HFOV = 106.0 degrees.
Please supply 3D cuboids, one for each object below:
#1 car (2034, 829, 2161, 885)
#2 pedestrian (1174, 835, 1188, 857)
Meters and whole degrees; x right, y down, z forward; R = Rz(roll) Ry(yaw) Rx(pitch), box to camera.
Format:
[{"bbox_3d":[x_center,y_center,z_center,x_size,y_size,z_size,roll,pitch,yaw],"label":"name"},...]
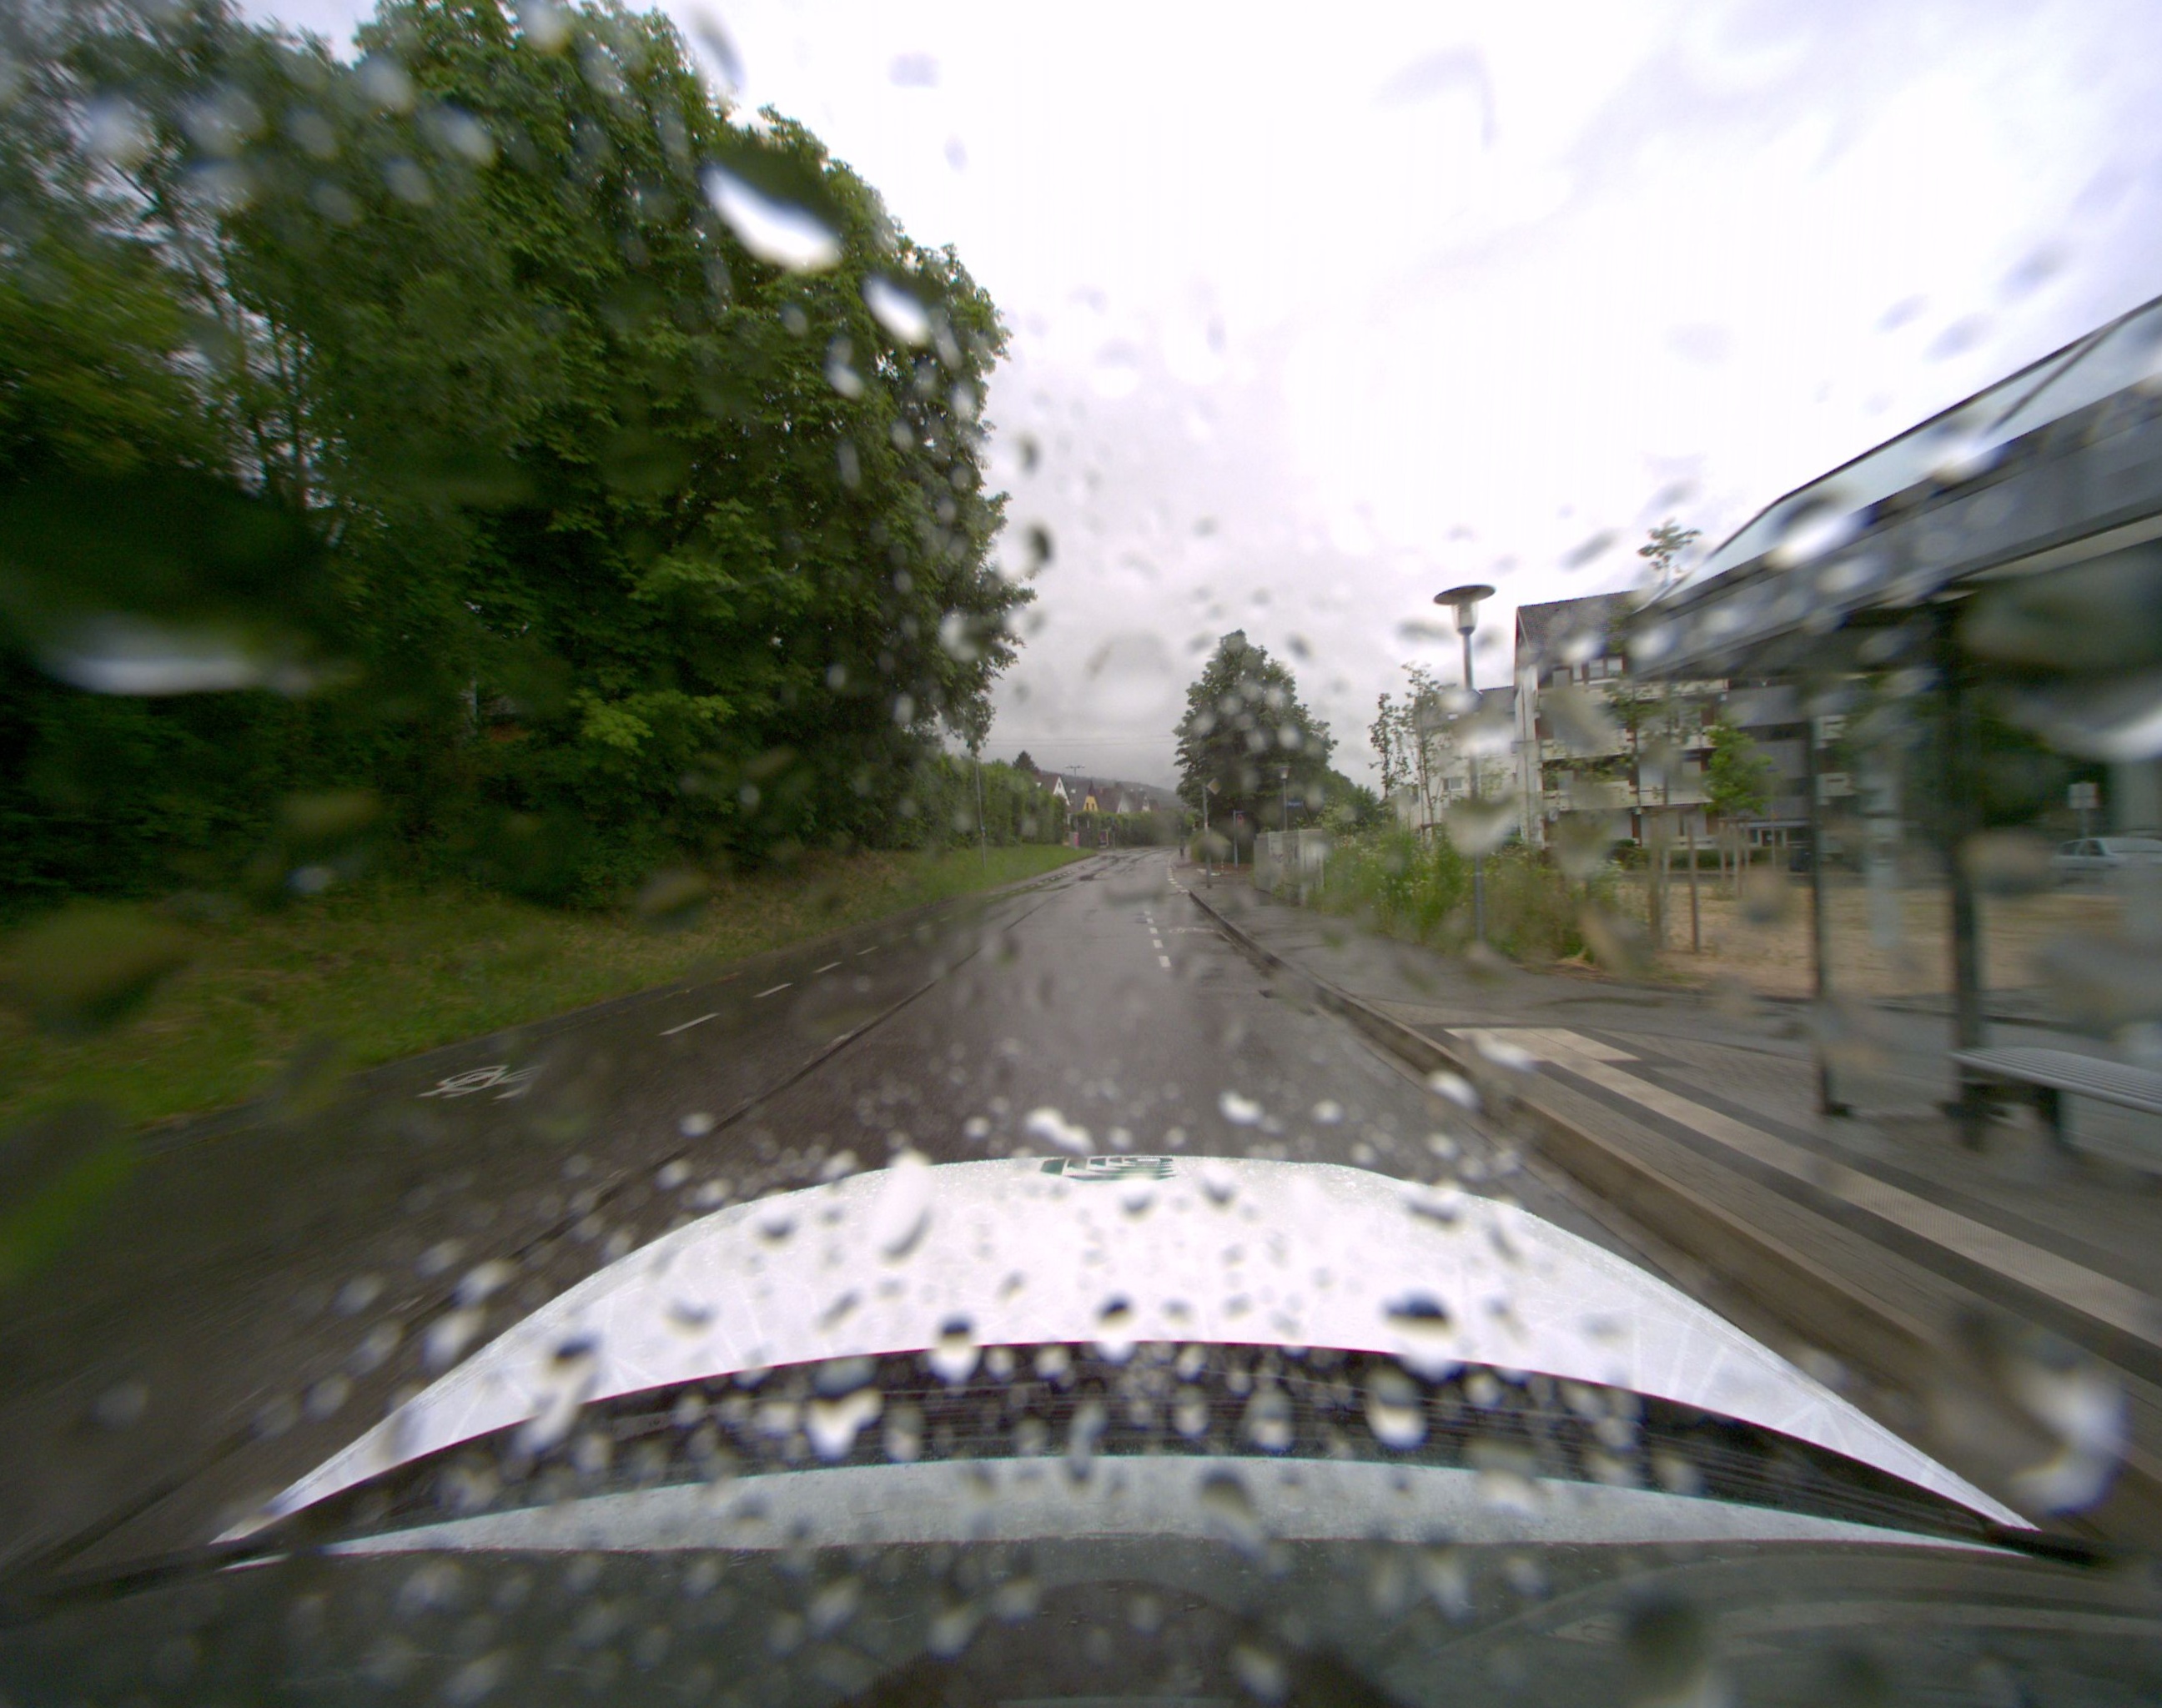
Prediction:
[{"bbox_3d":[28.818,0.119,22.539,1.700,1.441,3.727,-1,-2,24],"label":"car"},{"bbox_3d":[7.629,-0.616,62.018,0.915,1.675,1.059,-3,1,7],"label":"pedestrian"}]
